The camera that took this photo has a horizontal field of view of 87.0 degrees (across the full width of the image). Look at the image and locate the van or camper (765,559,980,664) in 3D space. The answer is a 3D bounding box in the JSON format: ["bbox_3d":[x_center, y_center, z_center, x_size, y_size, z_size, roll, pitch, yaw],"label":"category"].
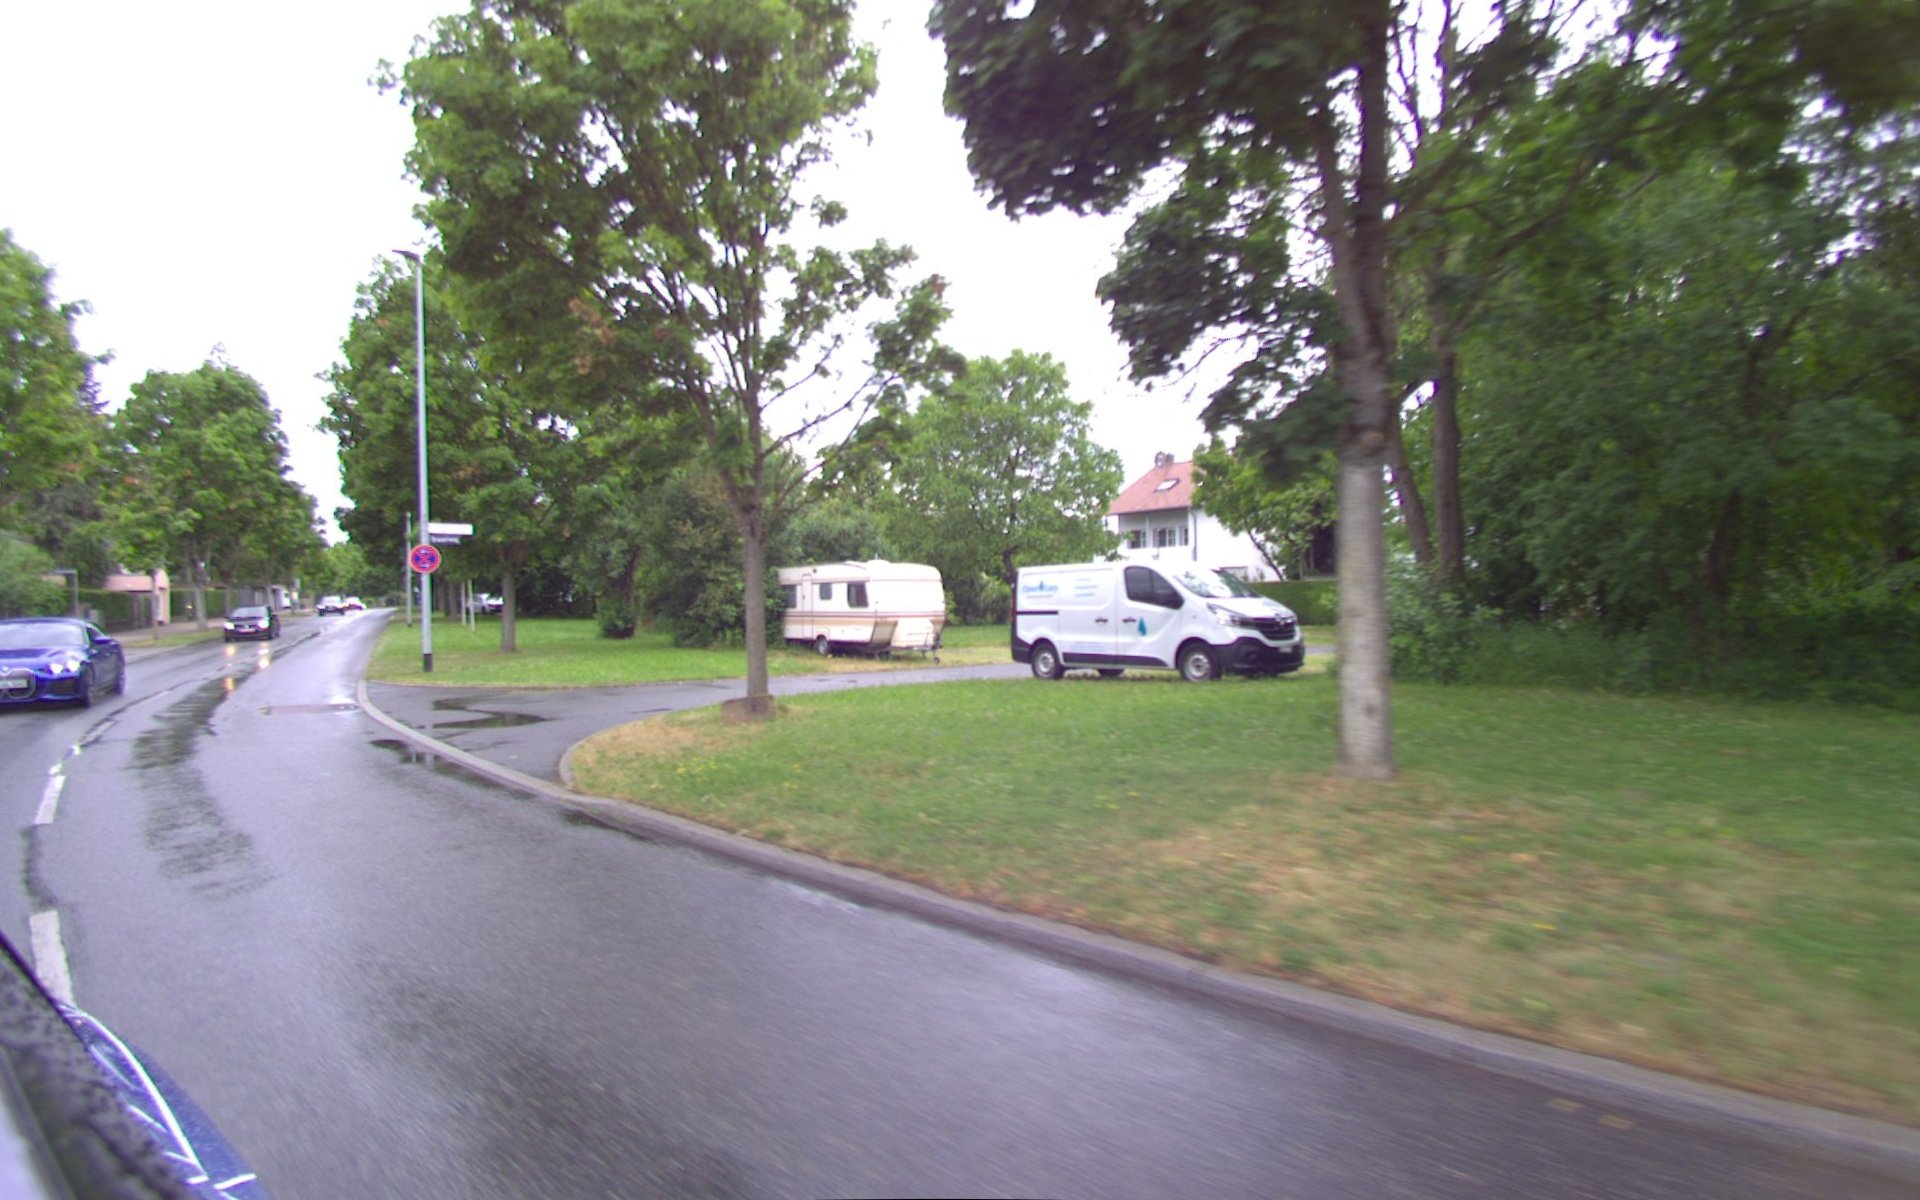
[{"bbox_3d":[-2.499,0.257,26.372,2.353,2.378,6.827,-1,0,-36],"label":"van or camper"}]

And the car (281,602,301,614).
[{"bbox_3d":[-84.421,1.018,127.691,1.639,1.432,4.013,-4,2,-28],"label":"car"}]

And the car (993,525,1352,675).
[{"bbox_3d":[3.160,0.162,16.286,2.100,2.001,5.483,0,-3,-40],"label":"car"}]

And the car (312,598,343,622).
[{"bbox_3d":[-54.752,0.825,87.603,1.966,1.872,4.013,-4,2,-29],"label":"car"}]

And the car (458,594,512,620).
[{"bbox_3d":[-31.414,0.470,66.868,4.217,1.441,1.860,-4,-2,44],"label":"car"}]

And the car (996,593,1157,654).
[{"bbox_3d":[3.326,0.610,29.807,1.767,1.548,5.015,-2,2,-37],"label":"car"}]

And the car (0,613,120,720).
[{"bbox_3d":[-15.627,1.057,17.042,1.786,1.479,3.986,-3,2,-33],"label":"car"}]

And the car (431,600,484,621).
[{"bbox_3d":[-37.672,0.746,75.820,4.242,1.525,1.871,0,0,37],"label":"car"}]

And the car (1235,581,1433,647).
[{"bbox_3d":[9.961,0.413,27.209,2.101,1.521,4.486,-1,-3,-40],"label":"car"}]

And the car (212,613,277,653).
[{"bbox_3d":[-30.186,1.343,42.828,1.898,1.392,4.321,-4,2,-31],"label":"car"}]
